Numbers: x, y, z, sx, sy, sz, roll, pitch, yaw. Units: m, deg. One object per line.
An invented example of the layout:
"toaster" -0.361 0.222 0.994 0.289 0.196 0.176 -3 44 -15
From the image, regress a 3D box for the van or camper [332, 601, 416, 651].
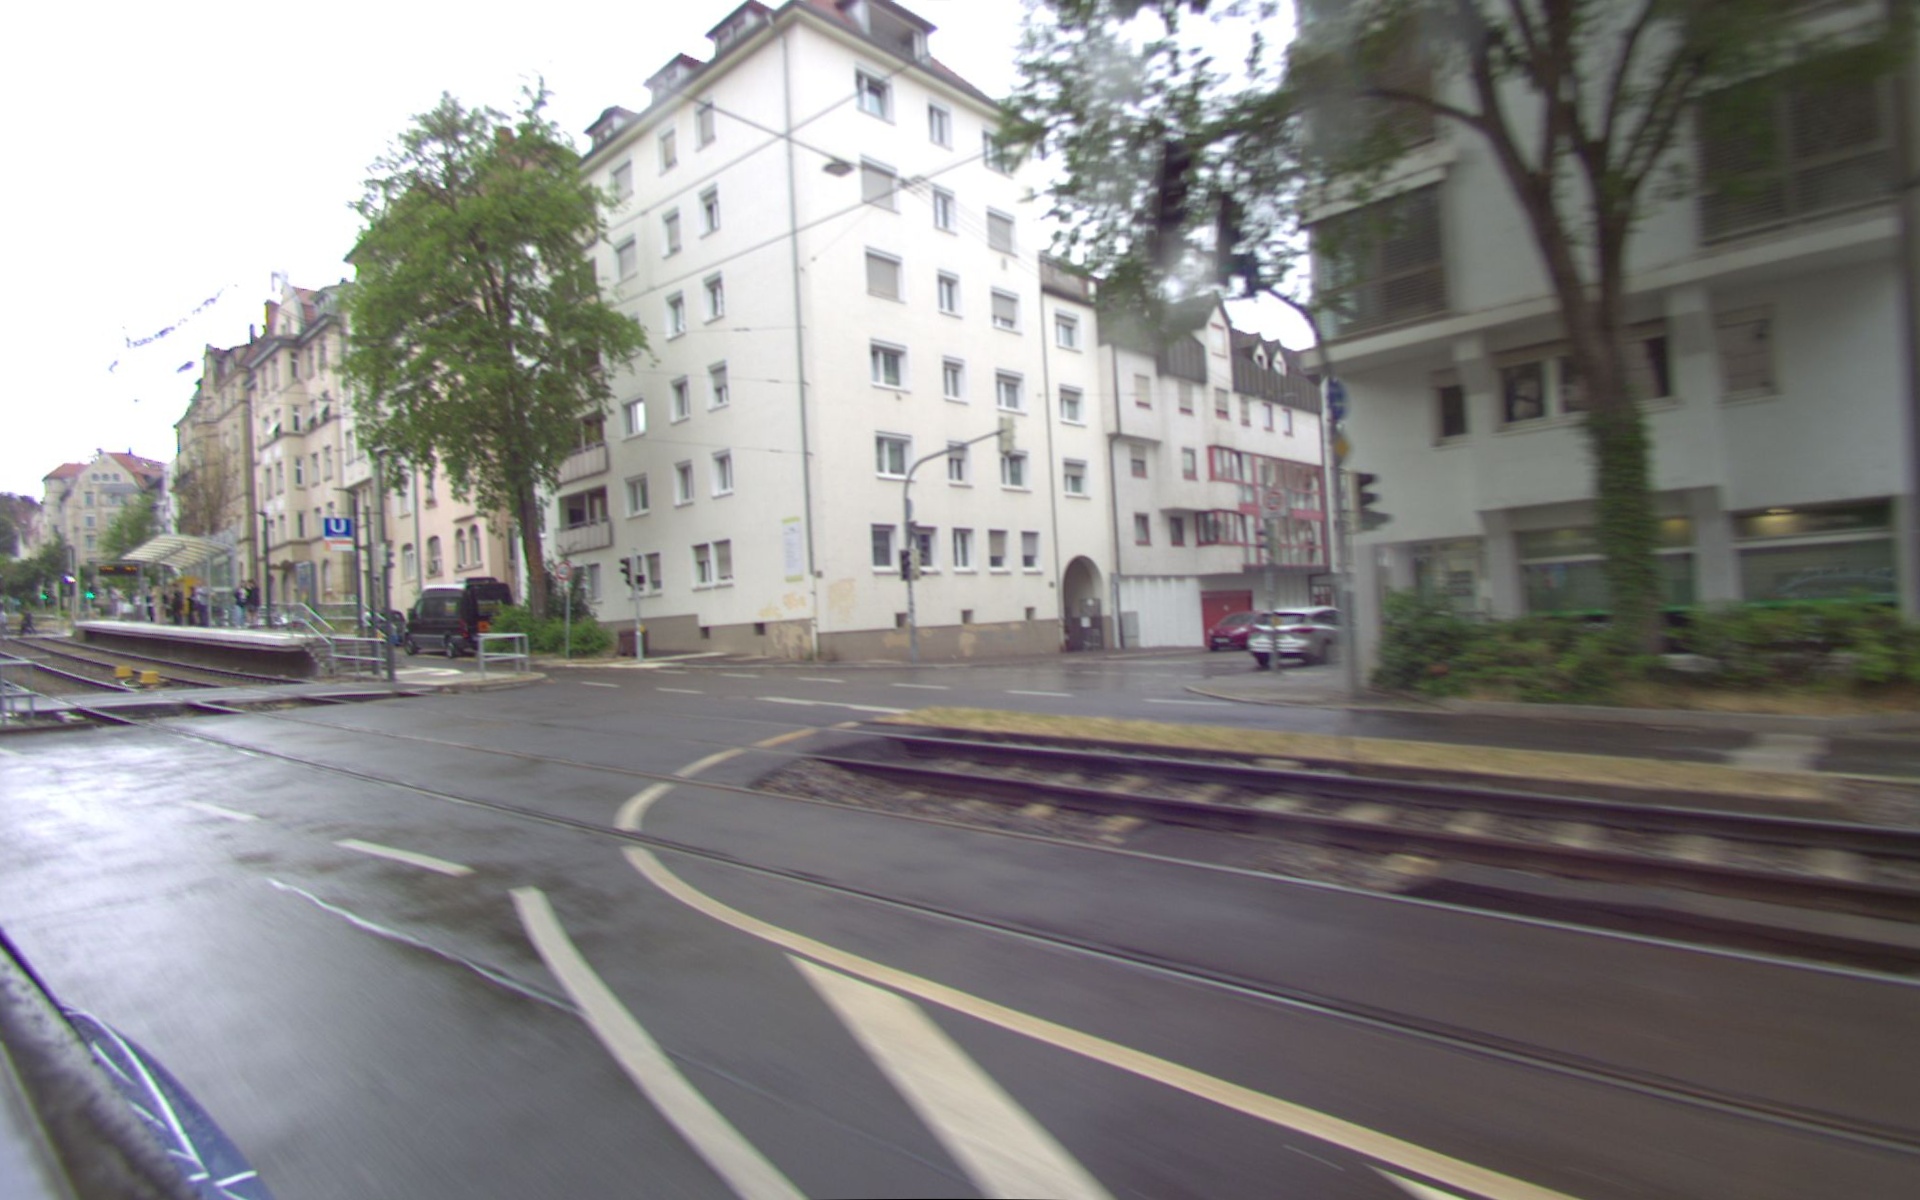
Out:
"van or camper" -25.092 1.109 43.277 3.999 2.029 1.972 -1 -1 42

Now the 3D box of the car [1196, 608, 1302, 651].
"car" 11.093 1.094 38.685 2.000 1.513 4.662 -1 -1 43

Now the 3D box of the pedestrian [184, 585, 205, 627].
"pedestrian" -30.738 0.255 40.661 0.614 1.678 0.544 0 -1 42

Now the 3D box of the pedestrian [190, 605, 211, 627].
"pedestrian" -29.917 0.633 39.841 0.614 0.878 0.544 0 -1 42

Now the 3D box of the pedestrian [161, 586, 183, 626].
"pedestrian" -33.409 0.254 42.889 0.762 1.678 0.587 0 -1 42

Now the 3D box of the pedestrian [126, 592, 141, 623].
"pedestrian" -43.098 0.407 52.753 0.563 1.617 0.510 0 -1 42

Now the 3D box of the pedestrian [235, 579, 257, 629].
"pedestrian" -25.230 0.146 35.761 0.563 1.754 0.477 0 -1 42

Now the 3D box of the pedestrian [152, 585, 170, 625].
"pedestrian" -37.393 0.246 47.374 0.762 1.852 0.510 0 -1 42

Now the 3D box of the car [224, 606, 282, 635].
"car" -40.491 1.154 57.950 4.536 1.635 1.901 -1 -1 44

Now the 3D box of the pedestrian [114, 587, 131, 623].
"pedestrian" -43.760 0.279 52.880 0.598 1.864 0.555 0 -1 42

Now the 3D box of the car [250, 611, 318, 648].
"car" -34.627 1.467 51.788 1.971 1.745 4.816 1 0 -45

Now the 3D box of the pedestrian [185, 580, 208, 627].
"pedestrian" -28.671 0.136 38.014 0.614 1.754 0.544 0 -1 42

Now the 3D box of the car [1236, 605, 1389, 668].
"car" 9.108 0.872 25.902 2.000 1.483 4.662 -1 -1 43

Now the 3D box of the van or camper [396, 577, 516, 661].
"van or camper" -18.141 0.694 36.346 4.856 2.826 1.975 -1 -1 38

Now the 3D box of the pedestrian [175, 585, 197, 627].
"pedestrian" -31.638 0.254 41.346 0.591 1.678 0.588 0 -1 42

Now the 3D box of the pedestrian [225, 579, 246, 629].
"pedestrian" -25.785 0.143 36.025 0.563 1.754 0.477 0 -1 42

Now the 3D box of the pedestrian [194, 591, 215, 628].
"pedestrian" -29.275 0.359 39.212 0.614 1.424 0.544 0 -1 42

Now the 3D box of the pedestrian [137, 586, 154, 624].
"pedestrian" -40.024 0.247 49.743 0.762 1.852 0.510 0 -1 42
